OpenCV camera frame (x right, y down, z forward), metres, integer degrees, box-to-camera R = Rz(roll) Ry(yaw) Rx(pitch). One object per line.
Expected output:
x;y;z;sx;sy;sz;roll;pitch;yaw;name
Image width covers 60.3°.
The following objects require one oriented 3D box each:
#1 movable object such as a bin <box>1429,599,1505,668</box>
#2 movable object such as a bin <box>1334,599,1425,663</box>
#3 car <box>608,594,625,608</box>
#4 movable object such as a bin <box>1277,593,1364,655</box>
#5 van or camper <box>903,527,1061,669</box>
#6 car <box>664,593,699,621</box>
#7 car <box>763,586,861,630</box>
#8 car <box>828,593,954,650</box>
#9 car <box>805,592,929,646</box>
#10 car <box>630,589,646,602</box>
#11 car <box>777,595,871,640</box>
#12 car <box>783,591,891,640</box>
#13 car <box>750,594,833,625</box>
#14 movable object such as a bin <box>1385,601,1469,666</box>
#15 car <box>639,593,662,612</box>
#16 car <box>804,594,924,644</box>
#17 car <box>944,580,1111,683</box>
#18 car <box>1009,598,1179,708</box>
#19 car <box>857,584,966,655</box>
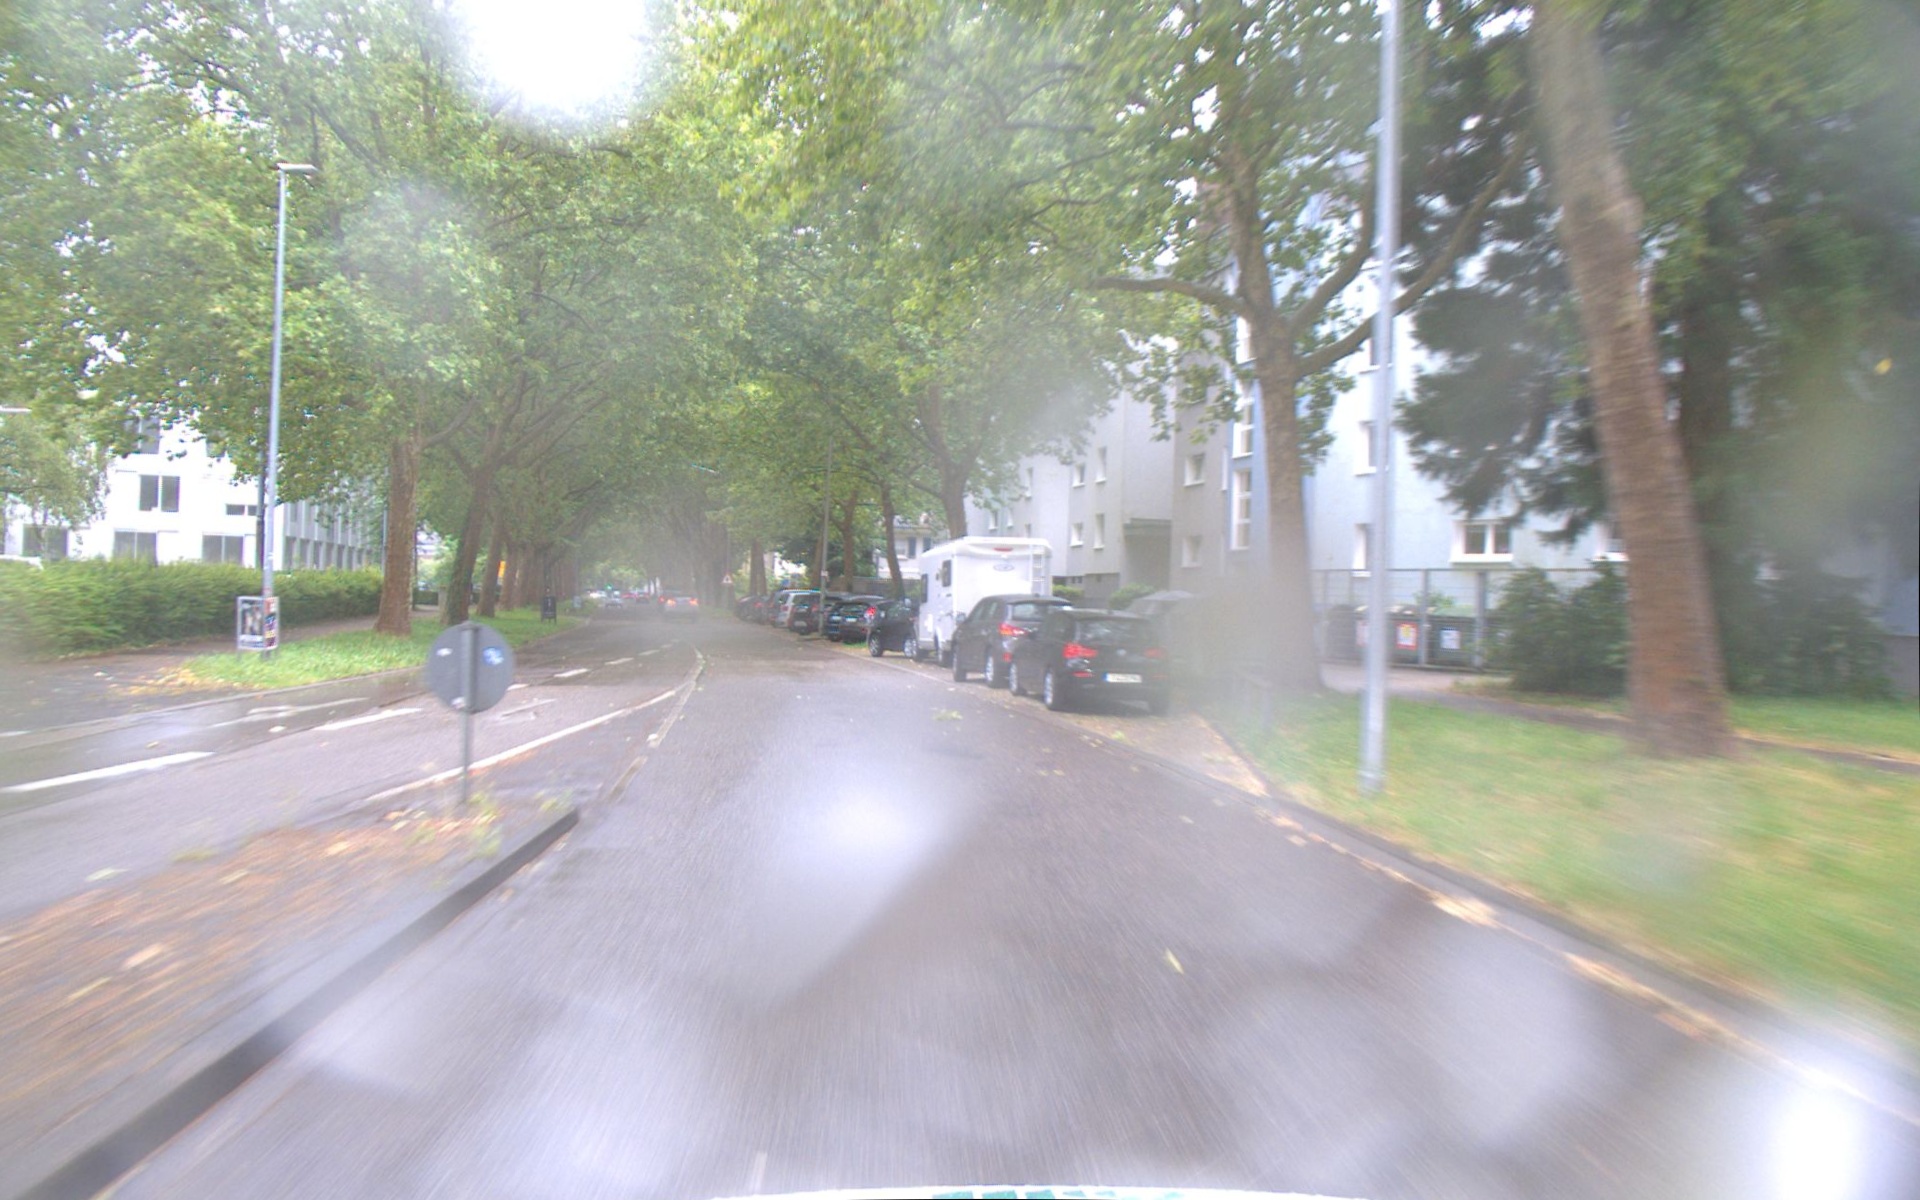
11.554;0.743;37.720;1.146;1.498;1.211;-1;2;-30;movable object such as a bin
10.272;0.746;40.577;1.199;1.457;1.845;3;0;-29;movable object such as a bin
-36.172;0.079;174.127;1.649;1.413;4.536;1;0;-11;car
9.154;0.606;42.075;1.199;1.457;1.845;3;0;-29;movable object such as a bin
0.353;-0.033;37.825;2.277;2.856;6.847;2;0;-10;van or camper
-14.843;0.372;88.117;1.676;1.436;3.634;0;0;-12;car
-6.871;0.360;76.622;4.261;1.792;1.813;3;0;-12;car
-2.201;0.699;53.036;3.737;1.629;1.775;3;0;-42;car
-3.153;0.659;56.547;3.966;1.629;1.775;3;0;-42;car
-34.840;-0.492;178.797;1.676;1.436;3.634;0;0;-12;car
-6.046;0.763;73.175;3.916;1.757;1.796;3;0;-12;car
-4.706;0.573;63.554;3.831;1.727;1.811;-1;2;-40;car
-8.510;0.465;83.380;3.968;1.466;1.679;-1;1;-15;car
11.033;0.786;39.130;1.303;1.457;1.357;3;0;-30;movable object such as a bin
-24.090;0.187;128.553;1.676;1.436;3.634;0;0;-12;car
-3.507;0.696;60.717;3.961;1.629;2.007;3;0;-40;car
1.134;0.577;29.984;1.883;1.649;4.438;3;-2;-13;car
1.905;0.727;24.693;1.520;1.414;4.140;3;0;-9;car
-1.291;0.488;43.122;1.667;1.681;2.920;3;0;-28;car
